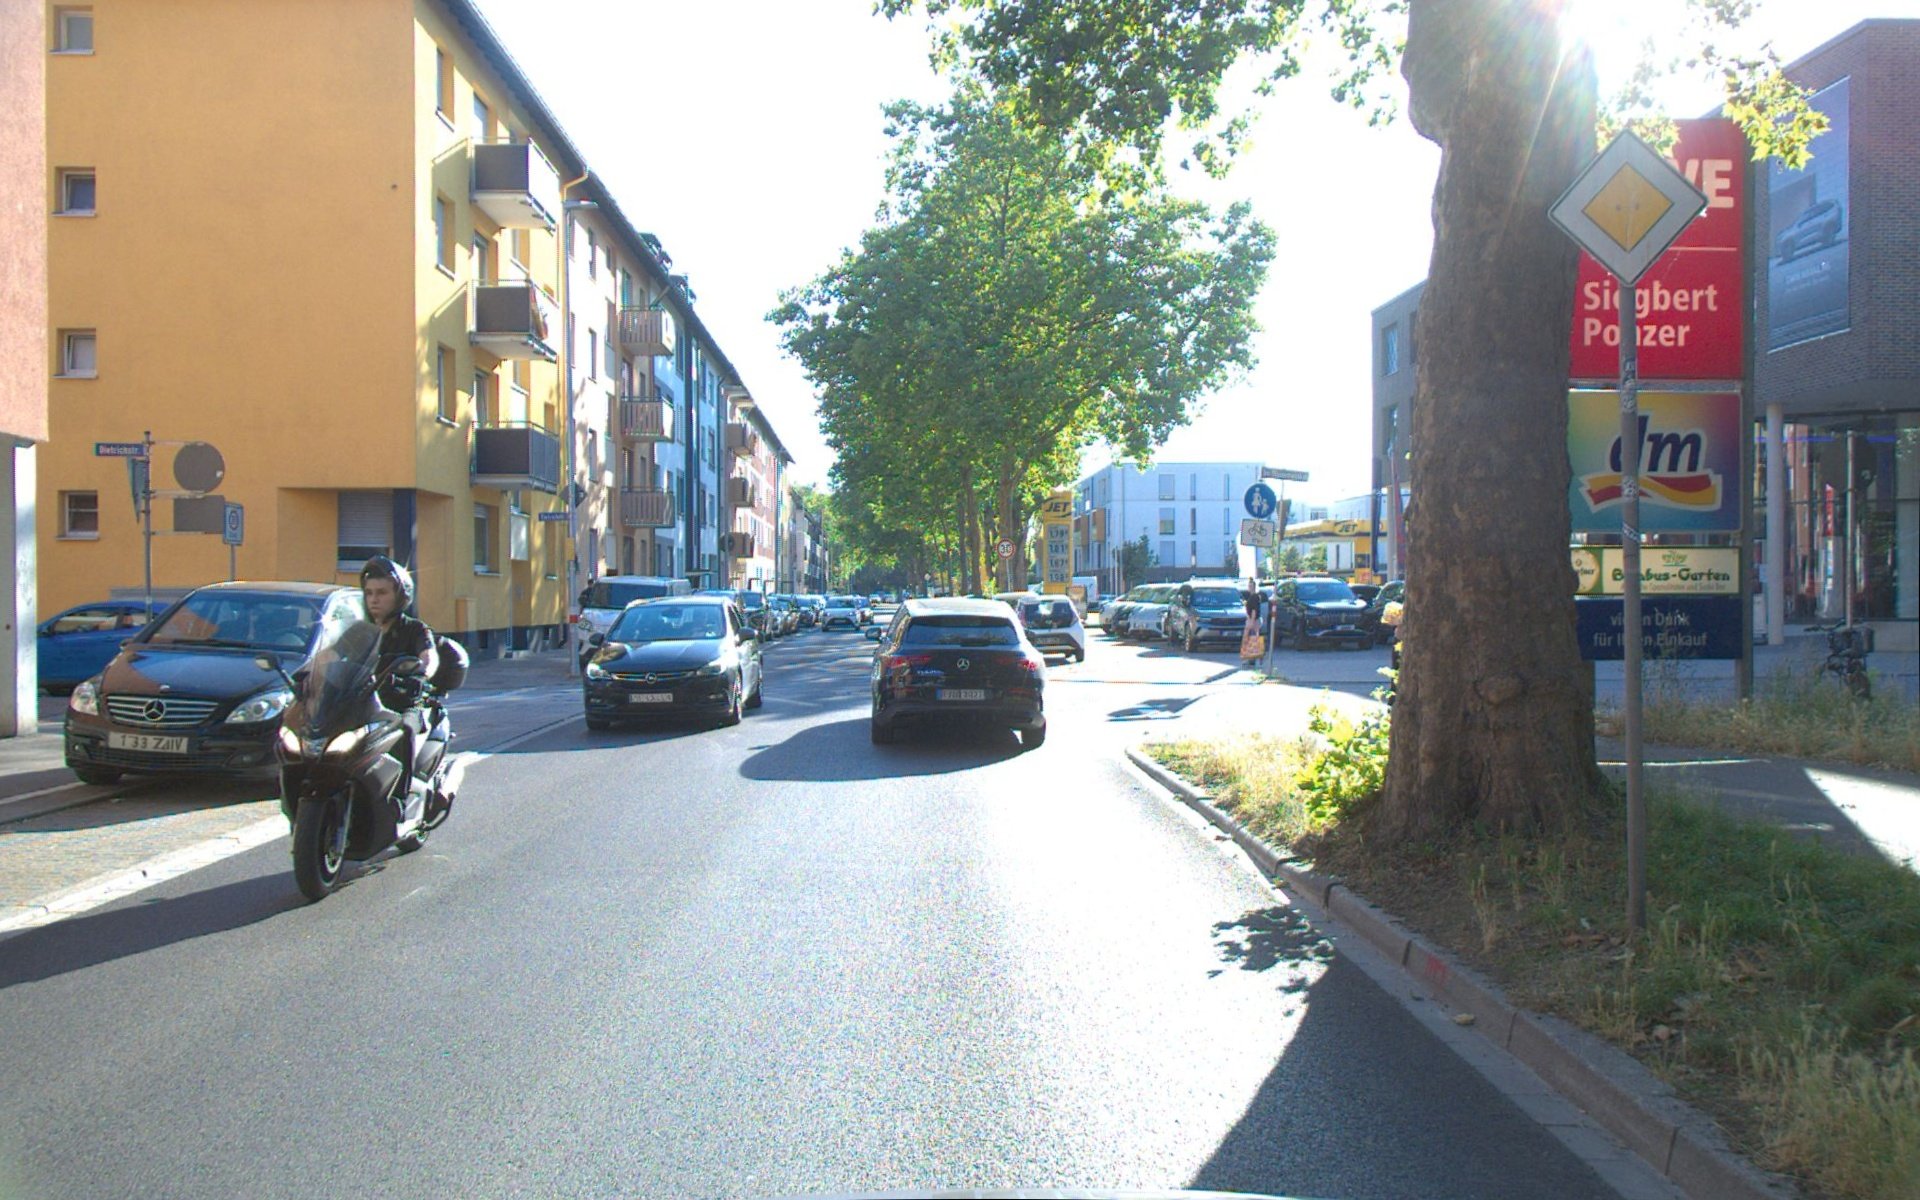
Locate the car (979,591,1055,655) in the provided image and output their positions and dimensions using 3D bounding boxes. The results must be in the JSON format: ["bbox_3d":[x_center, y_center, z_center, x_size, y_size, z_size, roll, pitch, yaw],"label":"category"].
[{"bbox_3d":[1.505,0.624,45.299,1.774,1.565,4.582,-3,0,-1],"label":"car"}]

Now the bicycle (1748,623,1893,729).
[{"bbox_3d":[8.829,0.758,17.025,0.377,1.021,1.479,-1,0,-18],"label":"bicycle"}]

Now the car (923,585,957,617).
[{"bbox_3d":[-1.377,0.093,111.138,1.955,2.049,3.995,0,-1,-5],"label":"car"}]

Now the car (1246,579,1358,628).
[{"bbox_3d":[11.525,0.105,55.689,3.780,1.537,1.621,-2,1,-38],"label":"car"}]

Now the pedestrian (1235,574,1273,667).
[{"bbox_3d":[5.668,0.388,31.861,0.677,1.753,0.722,-1,0,11],"label":"pedestrian"}]

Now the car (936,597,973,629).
[{"bbox_3d":[-0.301,0.653,85.945,1.687,1.585,3.598,1,0,-3],"label":"car"}]

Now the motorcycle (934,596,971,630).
[{"bbox_3d":[-0.349,0.631,78.711,1.620,1.585,0.607,1,-1,-24],"label":"motorcycle"}]

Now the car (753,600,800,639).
[{"bbox_3d":[-7.431,0.769,67.222,1.564,1.459,4.215,1,0,-2],"label":"car"}]

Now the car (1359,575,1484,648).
[{"bbox_3d":[11.434,0.263,41.246,1.693,1.714,4.177,-1,0,-4],"label":"car"}]

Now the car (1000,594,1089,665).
[{"bbox_3d":[1.910,0.666,38.493,1.602,1.493,4.018,-2,0,-3],"label":"car"}]

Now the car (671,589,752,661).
[{"bbox_3d":[-6.639,0.626,44.579,1.710,1.819,4.546,1,0,-3],"label":"car"}]

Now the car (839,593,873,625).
[{"bbox_3d":[-5.415,0.459,86.413,1.630,1.550,4.410,-2,0,-2],"label":"car"}]

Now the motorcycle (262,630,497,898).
[{"bbox_3d":[-3.184,0.827,9.301,0.536,1.263,2.263,-2,0,-2],"label":"motorcycle"}]

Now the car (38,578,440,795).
[{"bbox_3d":[-5.910,0.626,14.122,1.643,1.550,4.021,1,0,0],"label":"car"}]

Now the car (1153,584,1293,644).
[{"bbox_3d":[7.252,0.362,45.507,3.776,1.572,1.642,-1,0,-36],"label":"car"}]

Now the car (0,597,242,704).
[{"bbox_3d":[-13.618,0.774,26.192,3.707,1.594,1.748,-1,0,-1],"label":"car"}]

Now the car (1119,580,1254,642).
[{"bbox_3d":[6.609,0.300,48.087,3.780,1.638,1.718,-2,1,-38],"label":"car"}]

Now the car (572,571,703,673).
[{"bbox_3d":[-6.598,0.416,34.412,1.698,1.940,5.208,0,0,0],"label":"car"}]

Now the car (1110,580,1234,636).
[{"bbox_3d":[6.592,0.233,51.275,3.783,1.606,1.716,-2,1,-40],"label":"car"}]

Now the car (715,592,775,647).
[{"bbox_3d":[-7.002,0.602,54.153,1.565,1.669,4.409,1,0,-3],"label":"car"}]

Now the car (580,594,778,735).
[{"bbox_3d":[-3.290,0.692,20.155,1.735,1.504,4.321,-1,0,-1],"label":"car"}]

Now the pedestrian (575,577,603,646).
[{"bbox_3d":[-9.826,0.305,43.841,0.575,1.821,0.642,-1,0,-1],"label":"pedestrian"}]

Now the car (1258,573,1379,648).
[{"bbox_3d":[8.914,0.249,41.464,1.790,1.762,4.364,-1,0,-4],"label":"car"}]

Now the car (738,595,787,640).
[{"bbox_3d":[-7.279,0.623,61.224,1.517,1.550,4.002,1,0,-3],"label":"car"}]

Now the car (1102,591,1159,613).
[{"bbox_3d":[12.306,0.178,119.493,3.908,1.556,1.806,0,-1,-4],"label":"car"}]

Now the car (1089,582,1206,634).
[{"bbox_3d":[6.231,0.250,54.795,3.783,1.606,1.721,-2,1,-40],"label":"car"}]

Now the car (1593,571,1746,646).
[{"bbox_3d":[17.599,0.197,41.250,1.945,1.764,4.179,-1,0,-1],"label":"car"}]

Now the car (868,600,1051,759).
[{"bbox_3d":[0.083,0.753,17.706,1.708,1.469,3.970,1,0,3],"label":"car"}]

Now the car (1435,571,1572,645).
[{"bbox_3d":[13.654,0.179,41.790,1.839,1.764,4.177,-1,0,-4],"label":"car"}]

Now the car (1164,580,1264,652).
[{"bbox_3d":[6.273,0.370,41.294,1.717,1.699,4.156,-1,0,-2],"label":"car"}]

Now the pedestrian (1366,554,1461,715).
[{"bbox_3d":[5.215,0.384,19.022,0.757,1.792,0.659,-2,0,-21],"label":"pedestrian"}]

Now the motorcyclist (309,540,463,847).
[{"bbox_3d":[-3.193,0.497,9.255,0.574,1.633,0.831,-1,0,-2],"label":"motorcyclist"}]

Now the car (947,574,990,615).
[{"bbox_3d":[0.330,-0.205,67.059,1.528,1.624,3.598,1,0,-3],"label":"car"}]

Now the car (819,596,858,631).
[{"bbox_3d":[-5.422,0.587,74.167,1.606,1.550,3.932,0,0,-2],"label":"car"}]
